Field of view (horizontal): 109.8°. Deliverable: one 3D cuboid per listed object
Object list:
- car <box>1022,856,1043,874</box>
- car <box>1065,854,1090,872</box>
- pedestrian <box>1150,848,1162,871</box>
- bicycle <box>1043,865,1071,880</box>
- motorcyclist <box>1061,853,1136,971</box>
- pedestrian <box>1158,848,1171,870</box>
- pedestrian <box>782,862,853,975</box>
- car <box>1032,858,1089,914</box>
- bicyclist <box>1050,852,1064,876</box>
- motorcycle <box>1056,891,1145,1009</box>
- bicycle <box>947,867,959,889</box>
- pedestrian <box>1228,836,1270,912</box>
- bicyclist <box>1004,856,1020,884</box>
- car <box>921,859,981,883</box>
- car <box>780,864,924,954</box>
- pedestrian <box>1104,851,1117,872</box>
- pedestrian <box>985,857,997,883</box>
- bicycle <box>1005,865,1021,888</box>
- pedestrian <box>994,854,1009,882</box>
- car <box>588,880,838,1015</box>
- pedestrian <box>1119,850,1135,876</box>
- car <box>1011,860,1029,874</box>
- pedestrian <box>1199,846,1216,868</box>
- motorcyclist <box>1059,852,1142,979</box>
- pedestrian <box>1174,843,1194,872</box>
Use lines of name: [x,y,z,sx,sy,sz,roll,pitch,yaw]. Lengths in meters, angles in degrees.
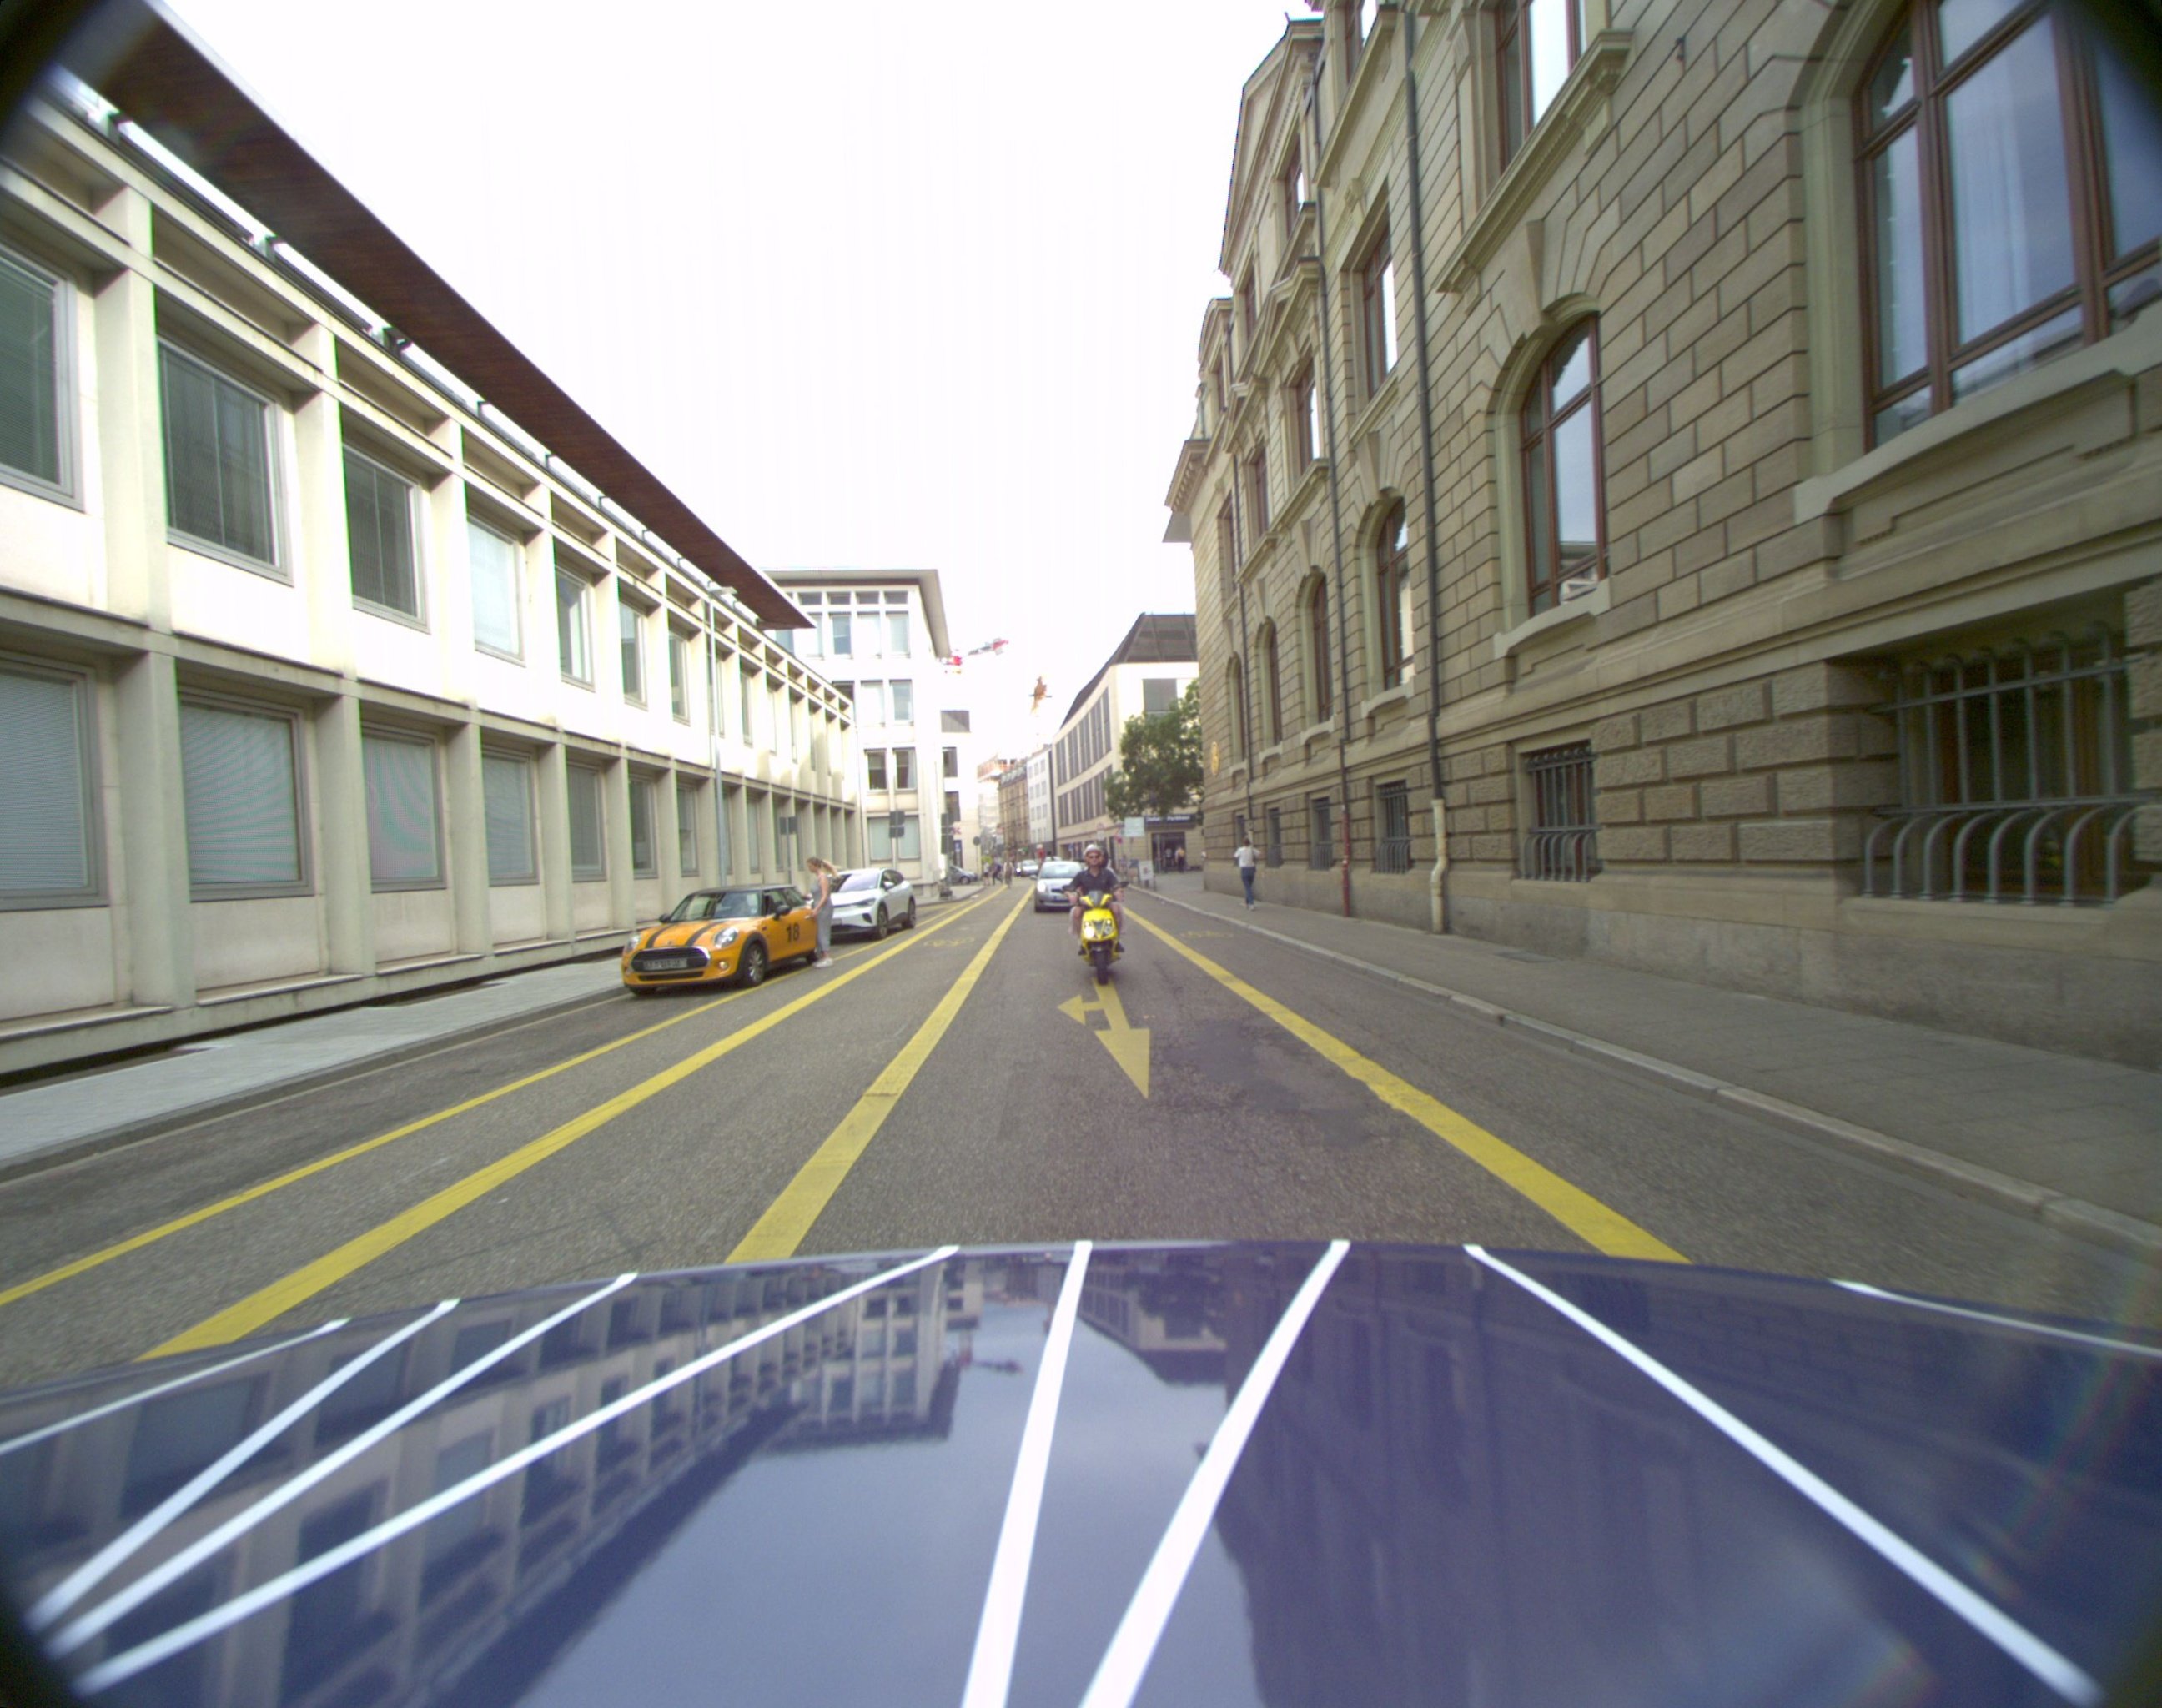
car: [-4.767,1.045,74.281,1.564,1.547,4.099,-3,1,-10]
car: [-0.354,0.804,72.017,1.564,1.547,4.099,-3,1,-10]
pedestrian: [6.112,0.430,62.137,0.648,1.820,0.860,-3,1,-16]
bicycle: [-1.658,1.286,52.227,1.726,0.829,0.601,-5,-1,-17]
motorcyclist: [0.205,0.722,9.782,0.904,1.445,0.742,-1,0,-2]
pedestrian: [6.829,0.400,62.136,0.648,1.820,0.860,-3,1,-16]
pedestrian: [-4.279,1.023,12.365,0.704,1.753,0.701,-2,1,25]
car: [-0.613,0.934,23.599,1.562,1.482,3.783,-2,1,-1]
bicyclist: [-1.659,0.669,52.266,0.644,1.610,0.622,-5,0,-17]
motorcycle: [0.207,1.090,9.305,0.929,1.158,2.127,-2,0,0]
bicycle: [-7.412,1.356,43.974,0.590,1.161,1.813,-3,1,-7]
pedestrian: [4.190,0.488,19.018,0.665,1.809,1.047,-4,1,-2]
bicyclist: [-4.138,0.964,45.814,0.892,1.585,0.877,-3,1,-5]
car: [-9.546,1.239,56.098,4.194,1.581,1.814,-3,1,-5]
car: [-5.234,1.182,18.072,1.865,1.596,4.511,-6,1,1]
pedestrian: [2.575,0.639,67.149,0.879,1.699,0.910,-6,1,-3]
pedestrian: [-6.177,1.088,51.986,0.644,1.755,0.653,-3,1,-14]
bicycle: [-4.136,1.333,45.822,0.871,1.188,2.862,-3,1,-6]
pedestrian: [-5.379,0.931,51.468,0.746,1.804,0.755,-7,2,-14]
car: [-5.292,1.255,11.578,1.684,1.426,3.886,-4,1,3]
pedestrian: [3.289,0.651,54.176,0.775,1.820,0.860,-3,1,-23]
car: [-7.198,1.504,89.647,1.590,1.477,3.996,-3,1,-11]
pedestrian: [10.815,0.245,64.964,1.060,1.755,0.892,-4,2,-6]
motorcyclist: [0.224,0.709,9.300,0.924,1.445,1.065,-1,0,0]
pedestrian: [6.367,0.198,47.011,1.029,1.710,0.818,-5,1,-2]
